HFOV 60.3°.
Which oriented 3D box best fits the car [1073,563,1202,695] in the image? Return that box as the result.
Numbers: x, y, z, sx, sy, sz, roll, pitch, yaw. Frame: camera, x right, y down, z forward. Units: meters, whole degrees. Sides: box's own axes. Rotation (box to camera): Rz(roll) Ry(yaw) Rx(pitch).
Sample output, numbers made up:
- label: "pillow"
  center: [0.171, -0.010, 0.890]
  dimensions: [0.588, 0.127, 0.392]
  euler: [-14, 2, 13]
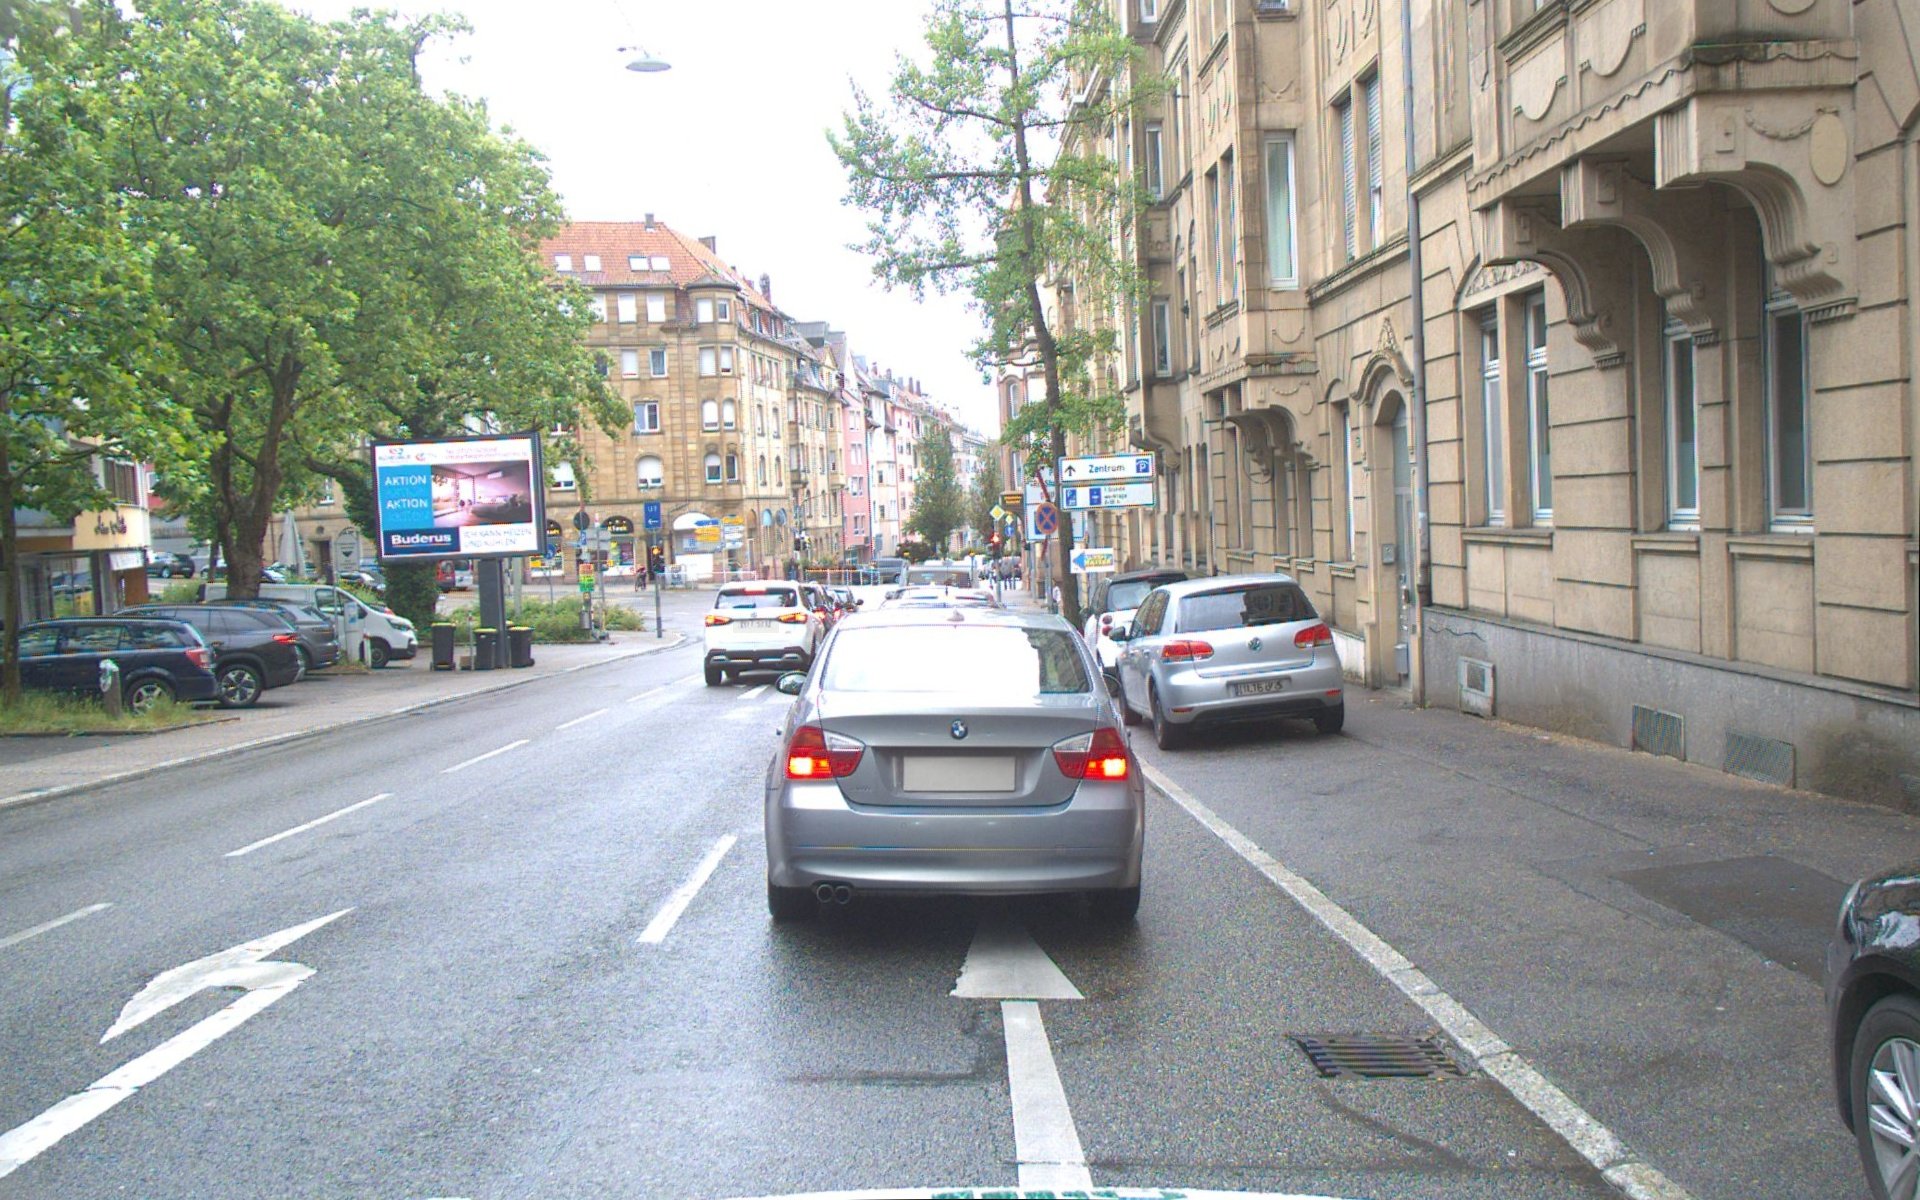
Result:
- label: "car"
  center: [2.388, 0.363, 22.757]
  dimensions: [1.273, 1.569, 2.879]
  euler: [-6, 1, -1]

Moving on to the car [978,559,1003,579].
- label: "car"
  center: [1.933, -1.972, 106.447]
  dimensions: [1.405, 1.195, 3.433]
  euler: [1, 0, -2]

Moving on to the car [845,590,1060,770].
- label: "car"
  center: [-0.049, 0.634, 15.372]
  dimensions: [1.723, 1.407, 4.000]
  euler: [-1, 1, 0]

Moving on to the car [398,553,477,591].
- label: "car"
  center: [-30.379, -1.656, 96.127]
  dimensions: [4.196, 2.138, 1.998]
  euler: [2, 2, 28]

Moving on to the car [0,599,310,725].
- label: "car"
  center: [-12.854, 0.941, 26.675]
  dimensions: [4.308, 1.701, 1.842]
  euler: [-3, 1, -24]

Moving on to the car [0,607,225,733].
- label: "car"
  center: [-13.042, 1.013, 23.912]
  dimensions: [4.299, 1.601, 1.929]
  euler: [-3, 1, -24]

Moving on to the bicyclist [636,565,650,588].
- label: "bicyclist"
  center: [-18.443, -1.351, 96.182]
  dimensions: [0.556, 1.295, 0.690]
  euler: [1, -1, 11]

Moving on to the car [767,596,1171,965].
- label: "car"
  center: [0.048, 0.712, 8.365]
  dimensions: [1.590, 1.407, 3.615]
  euler: [-1, 1, 0]

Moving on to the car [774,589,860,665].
- label: "car"
  center: [-3.440, 0.619, 40.454]
  dimensions: [1.723, 1.737, 4.000]
  euler: [-1, 1, 0]

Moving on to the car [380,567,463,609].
- label: "car"
  center: [-29.433, -0.656, 90.527]
  dimensions: [3.913, 2.048, 1.996]
  euler: [-3, 1, -8]

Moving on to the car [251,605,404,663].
- label: "car"
  center: [-17.777, 0.928, 46.577]
  dimensions: [3.916, 1.476, 1.757]
  euler: [-2, 0, -22]

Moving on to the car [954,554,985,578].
- label: "car"
  center: [0.713, -2.487, 120.737]
  dimensions: [1.951, 1.606, 4.002]
  euler: [1, 0, 5]

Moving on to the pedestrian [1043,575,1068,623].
- label: "pedestrian"
  center: [3.174, -0.038, 54.931]
  dimensions: [0.618, 1.534, 0.693]
  euler: [-6, 0, -2]

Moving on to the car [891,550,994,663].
- label: "car"
  center: [-0.360, 0.114, 33.472]
  dimensions: [1.953, 2.143, 3.999]
  euler: [0, 0, -1]

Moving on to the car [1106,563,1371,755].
- label: "car"
  center: [2.585, 0.491, 16.276]
  dimensions: [1.725, 1.476, 3.999]
  euler: [-6, 1, -1]

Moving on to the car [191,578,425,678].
- label: "car"
  center: [-15.404, 0.629, 39.265]
  dimensions: [4.989, 2.142, 1.979]
  euler: [-2, 0, -22]

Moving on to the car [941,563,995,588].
- label: "car"
  center: [0.549, -1.657, 114.101]
  dimensions: [1.957, 1.606, 3.991]
  euler: [1, 0, 31]

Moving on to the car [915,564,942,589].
- label: "car"
  center: [-2.005, -1.473, 104.763]
  dimensions: [1.680, 1.476, 3.741]
  euler: [-2, 0, -1]

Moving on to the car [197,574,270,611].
- label: "car"
  center: [-45.657, -0.505, 103.910]
  dimensions: [4.196, 2.138, 1.998]
  euler: [2, 2, 28]

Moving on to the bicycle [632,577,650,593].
- label: "bicycle"
  center: [-18.499, -0.877, 95.857]
  dimensions: [0.561, 0.873, 1.523]
  euler: [1, 0, 8]

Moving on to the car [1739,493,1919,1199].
- label: "car"
  center: [2.824, 0.553, 1.956]
  dimensions: [1.724, 1.679, 4.098]
  euler: [-6, 1, 0]

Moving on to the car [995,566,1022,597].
- label: "car"
  center: [3.357, -1.311, 115.667]
  dimensions: [1.652, 2.048, 3.999]
  euler: [-3, 1, -1]

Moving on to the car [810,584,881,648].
- label: "car"
  center: [-3.272, 0.428, 47.804]
  dimensions: [1.723, 1.737, 4.000]
  euler: [-1, 1, 0]

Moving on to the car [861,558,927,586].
- label: "car"
  center: [-5.187, -2.182, 129.978]
  dimensions: [5.072, 2.049, 2.698]
  euler: [1, 0, -1]

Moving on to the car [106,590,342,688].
- label: "car"
  center: [-15.045, 0.763, 34.060]
  dimensions: [4.295, 1.815, 1.927]
  euler: [-2, 0, -22]

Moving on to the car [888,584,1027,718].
- label: "car"
  center: [-0.016, 0.561, 20.767]
  dimensions: [1.562, 1.490, 4.000]
  euler: [-1, 1, 0]

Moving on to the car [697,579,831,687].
- label: "car"
  center: [-3.210, 0.490, 27.728]
  dimensions: [1.830, 1.654, 3.999]
  euler: [-1, 0, -1]

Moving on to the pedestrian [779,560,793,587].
- label: "pedestrian"
  center: [-10.645, -1.621, 101.128]
  dimensions: [0.716, 1.605, 0.528]
  euler: [-1, 0, 8]

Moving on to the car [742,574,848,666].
- label: "car"
  center: [-3.292, 0.354, 33.640]
  dimensions: [1.723, 1.737, 4.000]
  euler: [-1, 1, 0]

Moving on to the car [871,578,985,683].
- label: "car"
  center: [-0.478, 0.441, 27.327]
  dimensions: [1.723, 1.594, 4.000]
  euler: [-1, 1, 0]

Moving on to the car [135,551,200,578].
- label: "car"
  center: [-51.200, -2.287, 106.874]
  dimensions: [3.909, 1.718, 1.726]
  euler: [1, 0, 27]

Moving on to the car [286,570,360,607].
- label: "car"
  center: [-39.180, -0.743, 101.780]
  dimensions: [4.196, 2.138, 1.998]
  euler: [2, 2, 28]
